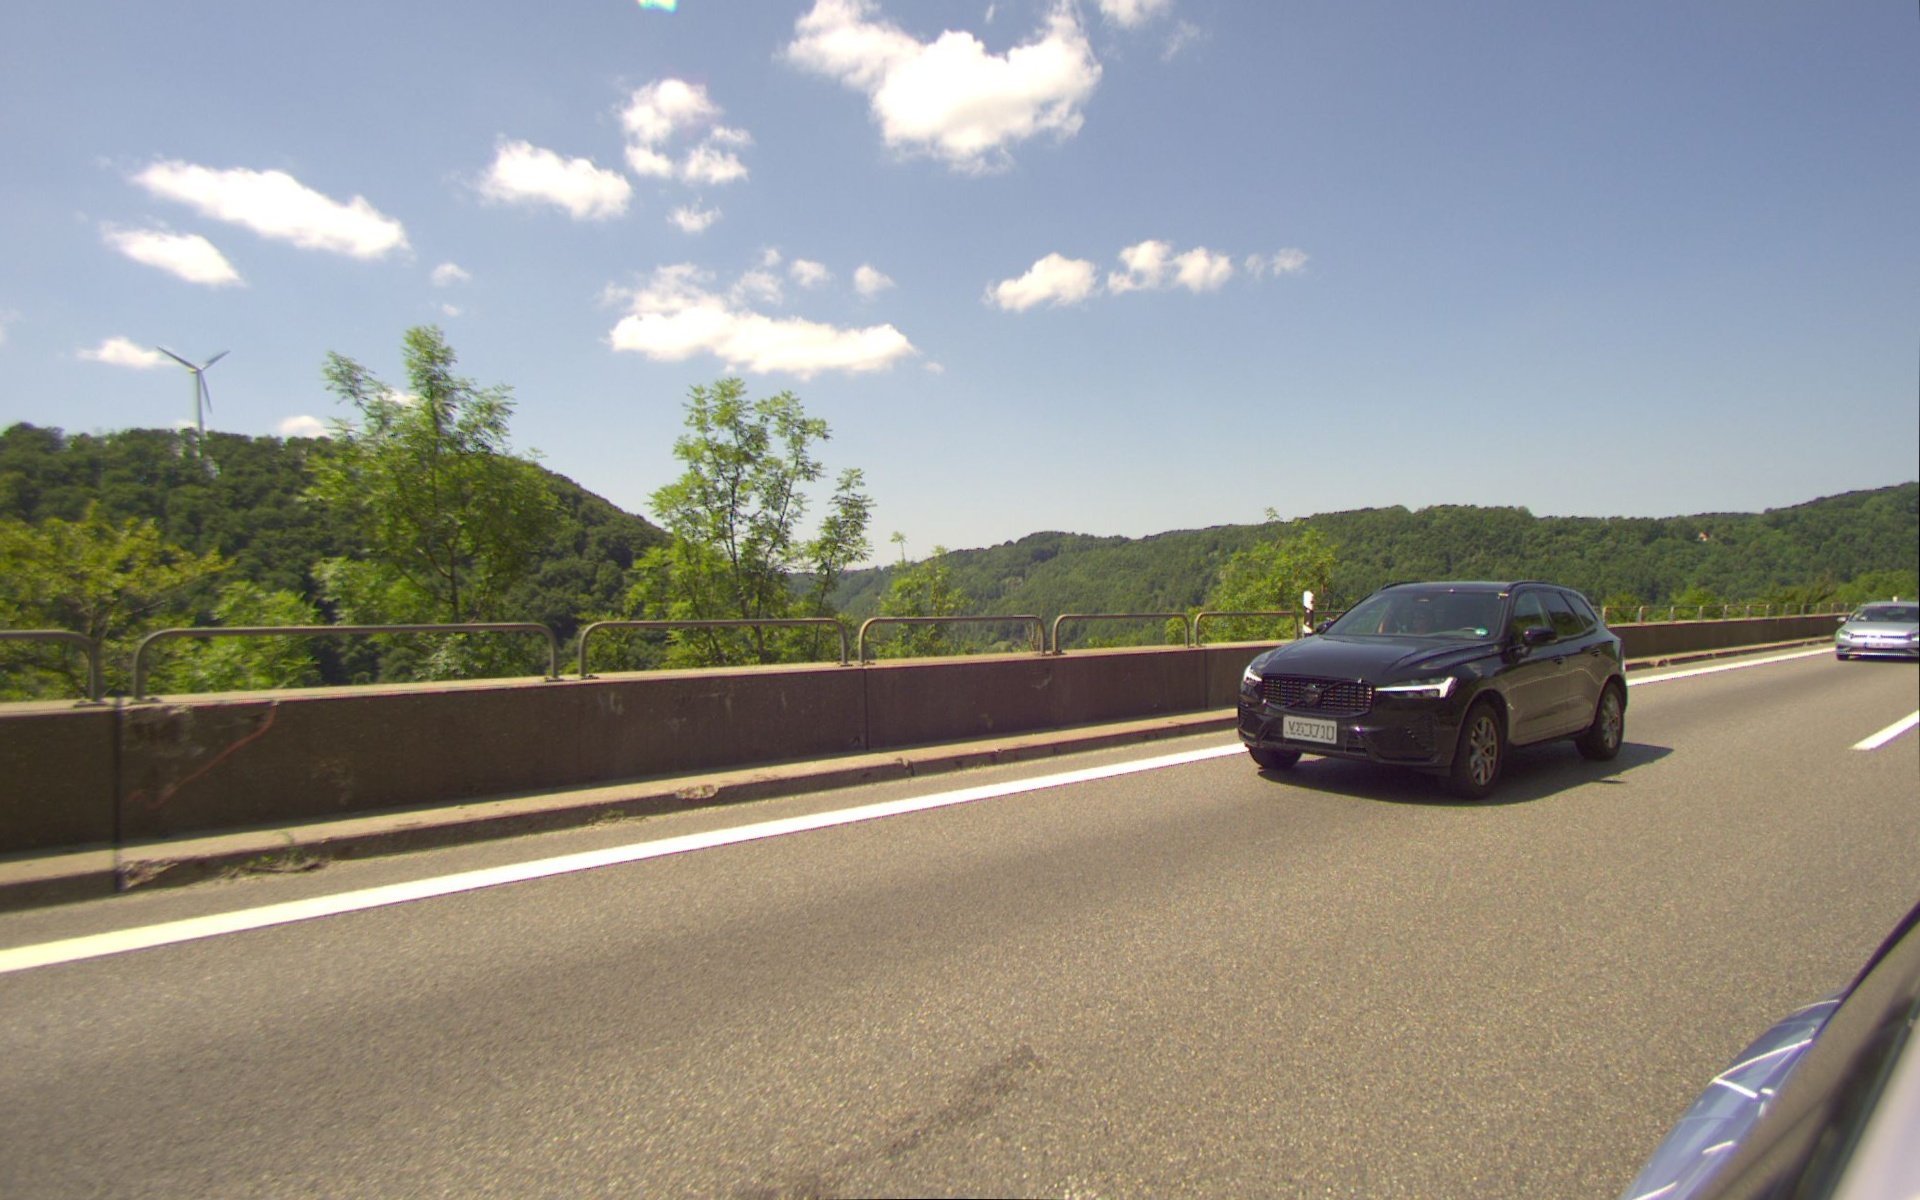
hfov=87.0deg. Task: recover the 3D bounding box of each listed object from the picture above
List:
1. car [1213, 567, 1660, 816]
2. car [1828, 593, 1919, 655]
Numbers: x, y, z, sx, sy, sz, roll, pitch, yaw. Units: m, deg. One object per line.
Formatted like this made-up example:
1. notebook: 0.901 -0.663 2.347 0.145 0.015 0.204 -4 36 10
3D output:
1. car: 4.378 0.554 8.936 4.580 1.653 1.838 -1 2 -40
2. car: 23.565 0.551 25.396 4.217 1.395 1.972 -1 1 -39
